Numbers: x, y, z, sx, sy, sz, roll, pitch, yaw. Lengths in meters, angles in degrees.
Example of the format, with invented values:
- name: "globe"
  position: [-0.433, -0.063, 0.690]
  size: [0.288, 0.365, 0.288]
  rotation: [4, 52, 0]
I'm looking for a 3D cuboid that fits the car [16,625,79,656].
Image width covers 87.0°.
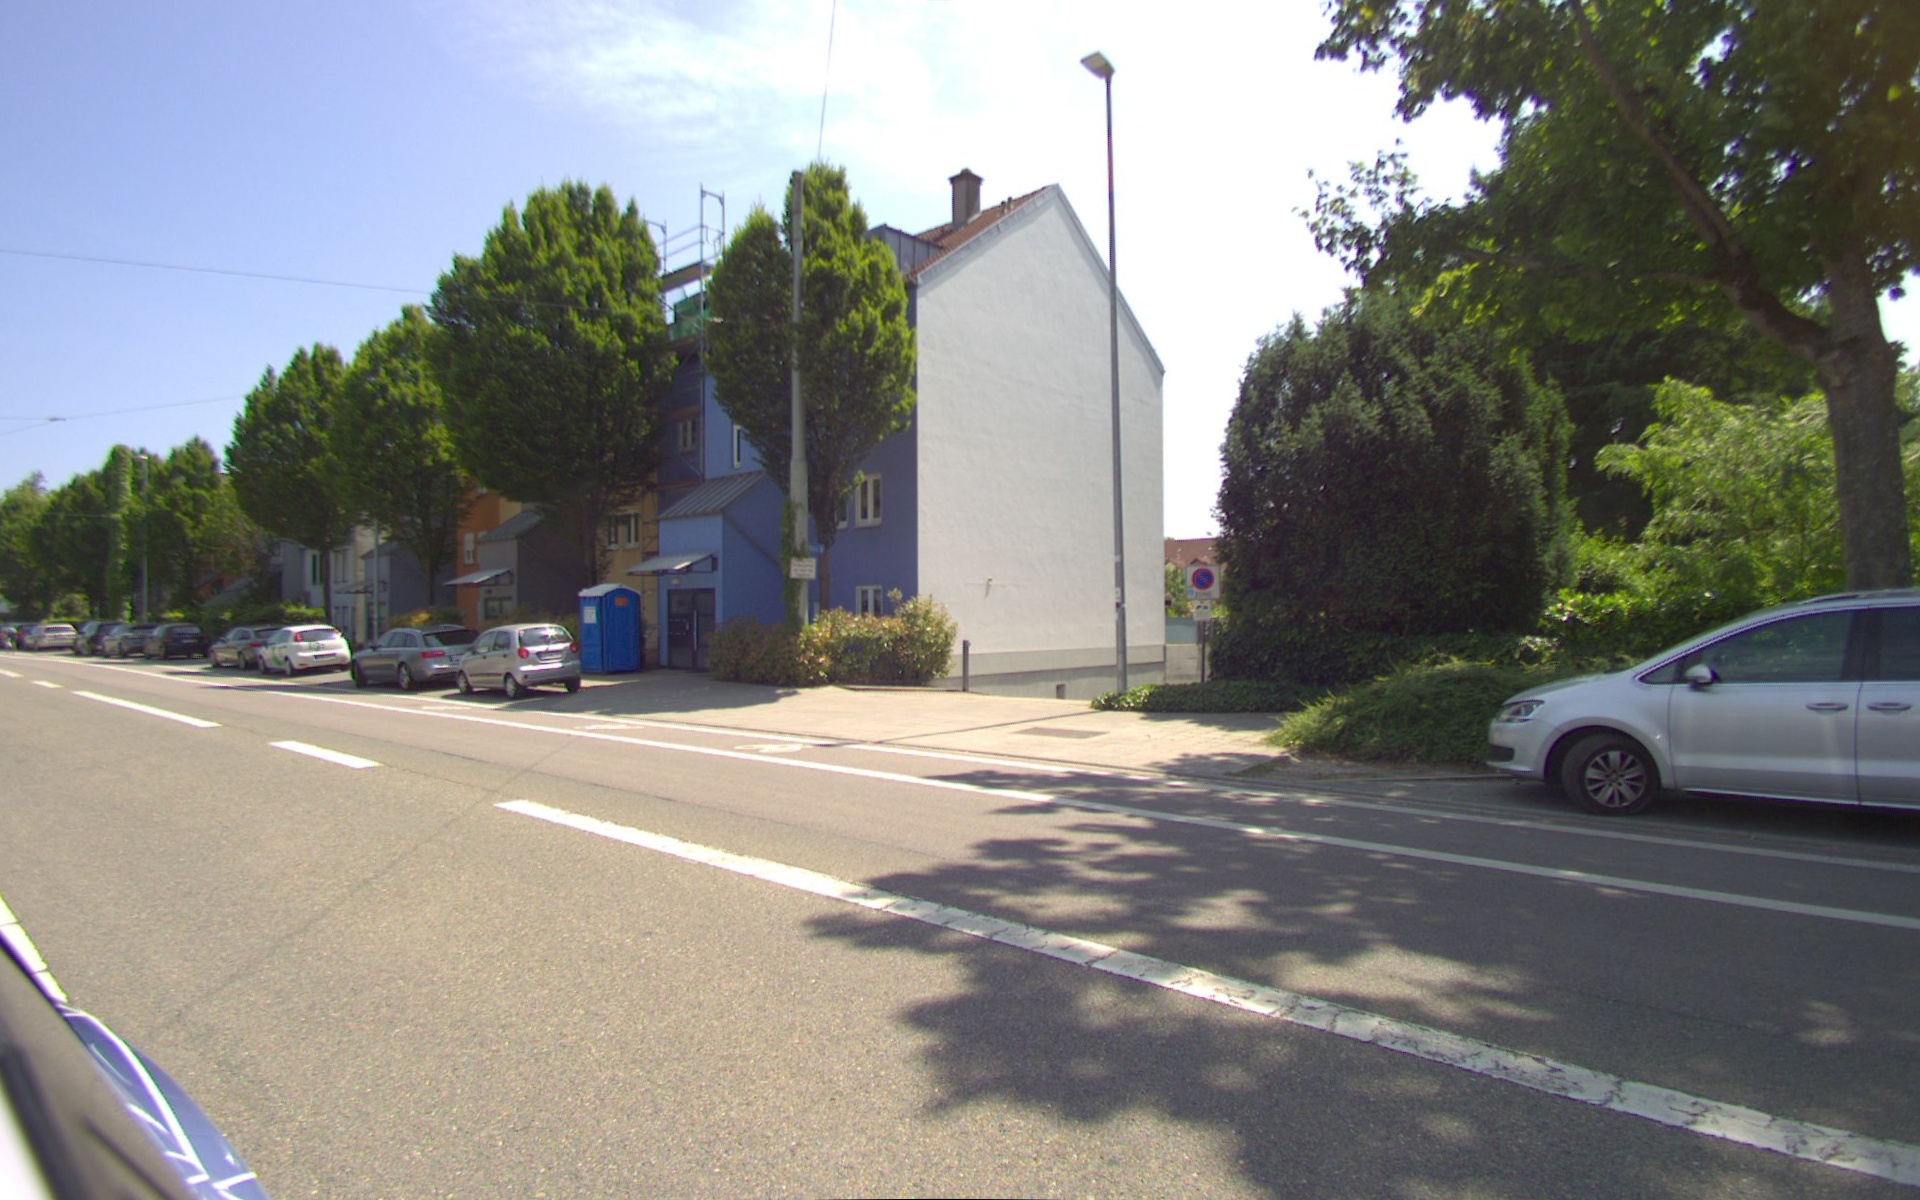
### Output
- name: "car"
  position: [-51.153, 2.267, 56.710]
  size: [4.490, 1.594, 1.823]
  rotation: [-2, 0, 38]

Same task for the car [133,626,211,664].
- name: "car"
  position: [-33.458, 1.886, 42.930]
  size: [4.254, 1.443, 1.732]
  rotation: [-1, 1, 40]

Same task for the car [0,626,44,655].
- name: "car"
  position: [-56.008, 2.404, 60.080]
  size: [3.673, 1.606, 1.586]
  rotation: [-2, 0, 35]

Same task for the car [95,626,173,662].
- name: "car"
  position: [-37.680, 1.990, 46.120]
  size: [4.752, 1.507, 1.807]
  rotation: [-2, 0, 39]

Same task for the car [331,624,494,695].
- name: "car"
  position: [-13.798, 1.450, 25.366]
  size: [5.129, 1.461, 1.769]
  rotation: [-2, 2, 40]

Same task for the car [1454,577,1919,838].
- name: "car"
  position: [6.481, 0.700, 7.452]
  size: [4.778, 1.677, 1.853]
  rotation: [-2, -1, 41]

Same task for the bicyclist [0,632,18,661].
- name: "bicyclist"
  position: [-49.045, 2.388, 51.998]
  size: [1.123, 1.442, 0.728]
  rotation: [-1, -5, 38]

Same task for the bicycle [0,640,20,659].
- name: "bicycle"
  position: [-49.109, 2.544, 52.097]
  size: [2.240, 0.958, 0.695]
  rotation: [-2, -4, 39]

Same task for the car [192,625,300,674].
- name: "car"
  position: [-25.113, 1.718, 35.536]
  size: [4.744, 1.440, 1.688]
  rotation: [-2, 3, 38]

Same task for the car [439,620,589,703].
- name: "car"
  position: [-9.700, 1.280, 21.940]
  size: [3.447, 1.506, 1.577]
  rotation: [-2, 3, 41]

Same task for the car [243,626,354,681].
- name: "car"
  position: [-21.015, 1.653, 32.093]
  size: [4.417, 1.453, 1.729]
  rotation: [-2, 3, 41]

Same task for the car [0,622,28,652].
- name: "car"
  position: [-60.168, 2.328, 63.225]
  size: [4.548, 1.807, 1.976]
  rotation: [-1, -1, 35]

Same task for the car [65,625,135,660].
- name: "car"
  position: [-42.260, 2.074, 49.710]
  size: [4.142, 1.601, 1.750]
  rotation: [-2, 0, 38]
